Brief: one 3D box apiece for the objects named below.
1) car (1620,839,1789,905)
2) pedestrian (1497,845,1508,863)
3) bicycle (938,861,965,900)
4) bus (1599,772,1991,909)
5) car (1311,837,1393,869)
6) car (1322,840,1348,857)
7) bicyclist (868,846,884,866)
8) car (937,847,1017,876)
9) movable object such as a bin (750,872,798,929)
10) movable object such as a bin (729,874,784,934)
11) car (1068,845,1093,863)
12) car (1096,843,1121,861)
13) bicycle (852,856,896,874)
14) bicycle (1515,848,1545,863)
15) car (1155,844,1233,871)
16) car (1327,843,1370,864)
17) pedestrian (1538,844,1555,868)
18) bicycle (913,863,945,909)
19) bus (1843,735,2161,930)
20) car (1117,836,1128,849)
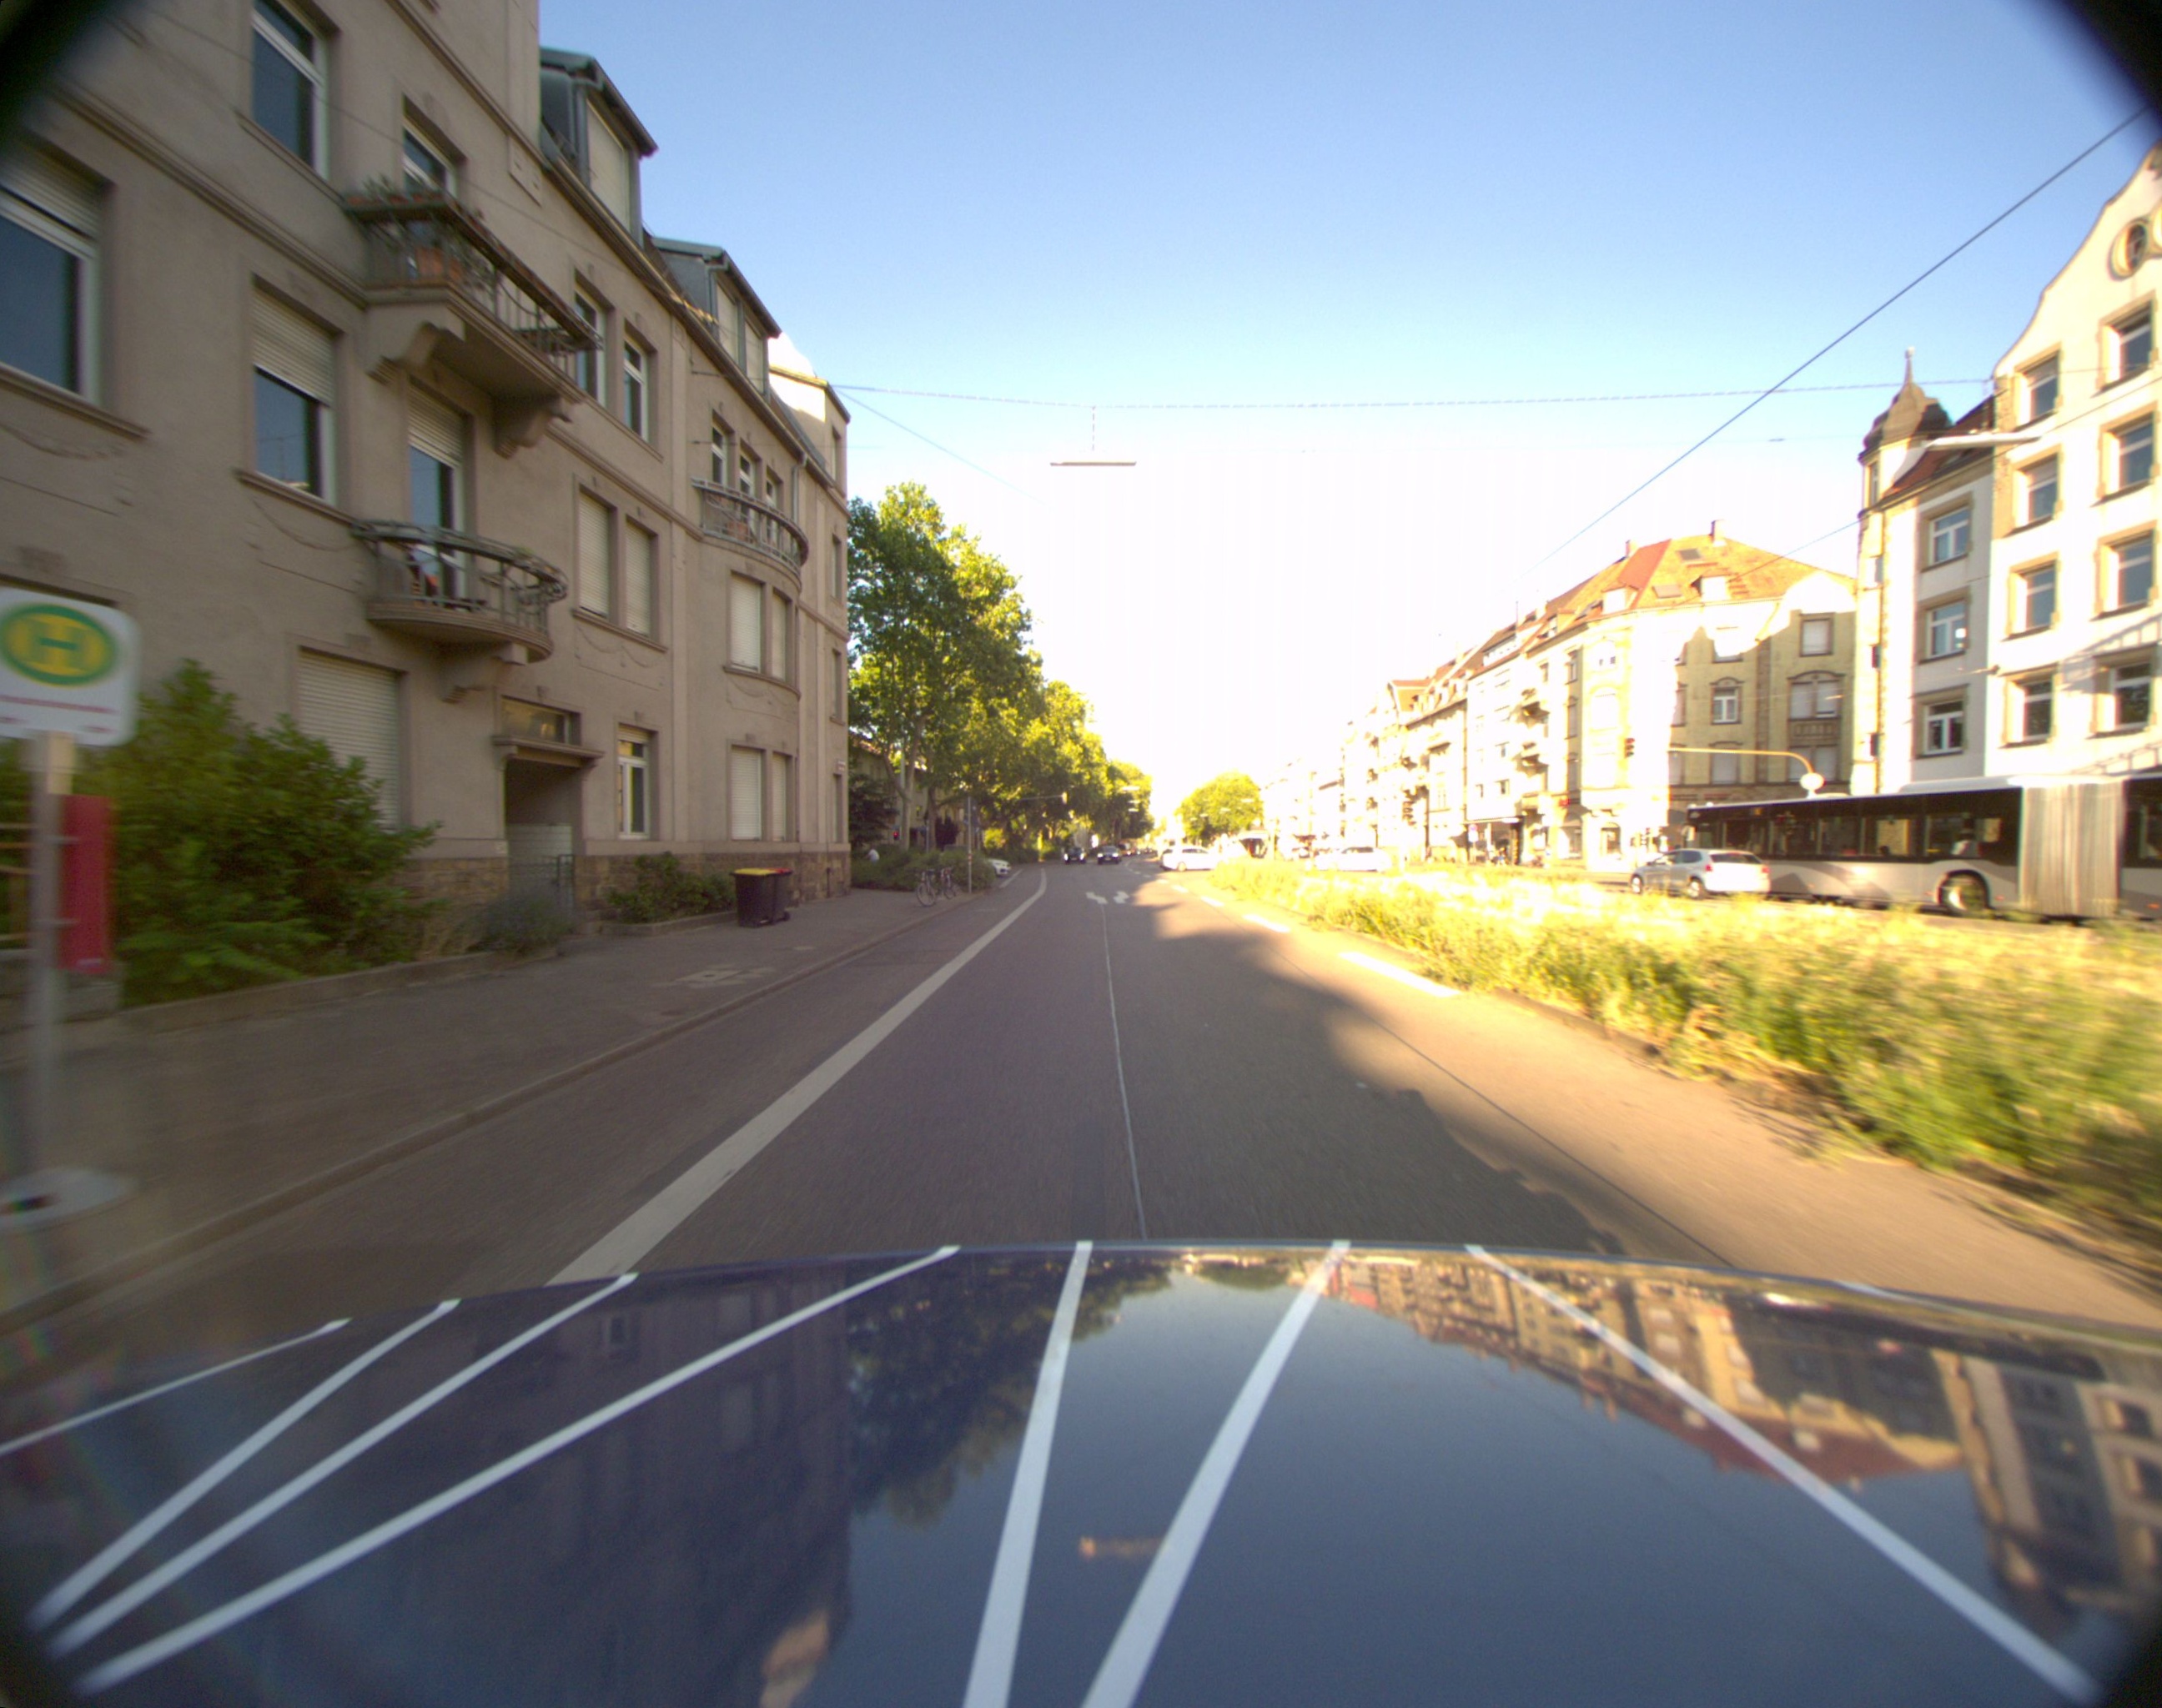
[{"bbox_3d":[17.837,0.437,22.021,1.934,1.674,4.001,0,2,7],"label":"car"},{"bbox_3d":[32.245,0.015,58.095,0.553,1.355,0.555,0,2,4],"label":"pedestrian"},{"bbox_3d":[-3.909,0.776,22.969,0.370,1.062,1.874,0,1,4],"label":"bicycle"},{"bbox_3d":[20.898,-0.485,23.644,3.272,3.355,9.898,0,2,4],"label":"bus"},{"bbox_3d":[15.053,-0.071,42.379,3.994,1.696,1.836,0,2,7],"label":"car"},{"bbox_3d":[29.518,-0.634,88.388,1.918,1.889,4.310,0,2,6],"label":"car"},{"bbox_3d":[-13.010,0.121,48.116,0.766,1.229,0.661,0,2,8],"label":"bicyclist"},{"bbox_3d":[-5.740,0.392,42.256,4.049,1.517,1.782,0,2,10],"label":"car"},{"bbox_3d":[-6.003,0.898,14.872,0.570,1.040,0.660,1,2,17],"label":"movable object such as a bin"},{"bbox_3d":[-6.042,0.922,14.178,0.656,1.040,0.660,1,2,17],"label":"movable object such as a bin"},{"bbox_3d":[-0.034,-0.012,72.972,1.877,1.587,4.002,0,1,8],"label":"car"},{"bbox_3d":[2.516,-0.224,69.789,1.877,1.587,4.002,0,1,8],"label":"car"},{"bbox_3d":[-13.119,0.686,48.161,2.549,1.099,0.653,-1,2,8],"label":"bicycle"},{"bbox_3d":[32.187,0.114,54.505,0.667,1.050,2.503,0,1,1],"label":"bicycle"},{"bbox_3d":[6.630,0.171,44.625,4.115,1.442,1.840,-1,2,-22],"label":"car"},{"bbox_3d":[19.055,-0.057,54.051,1.732,1.471,3.822,1,1,39],"label":"car"},{"bbox_3d":[31.639,0.141,51.653,0.630,1.631,0.770,0,1,3],"label":"pedestrian"},{"bbox_3d":[-3.951,0.808,19.893,0.438,1.092,1.932,0,1,0],"label":"bicycle"},{"bbox_3d":[20.176,-0.363,12.734,3.262,3.355,11.976,0,2,4],"label":"bus"},{"bbox_3d":[7.559,-2.126,137.117,1.877,2.279,4.001,0,1,4],"label":"car"}]
